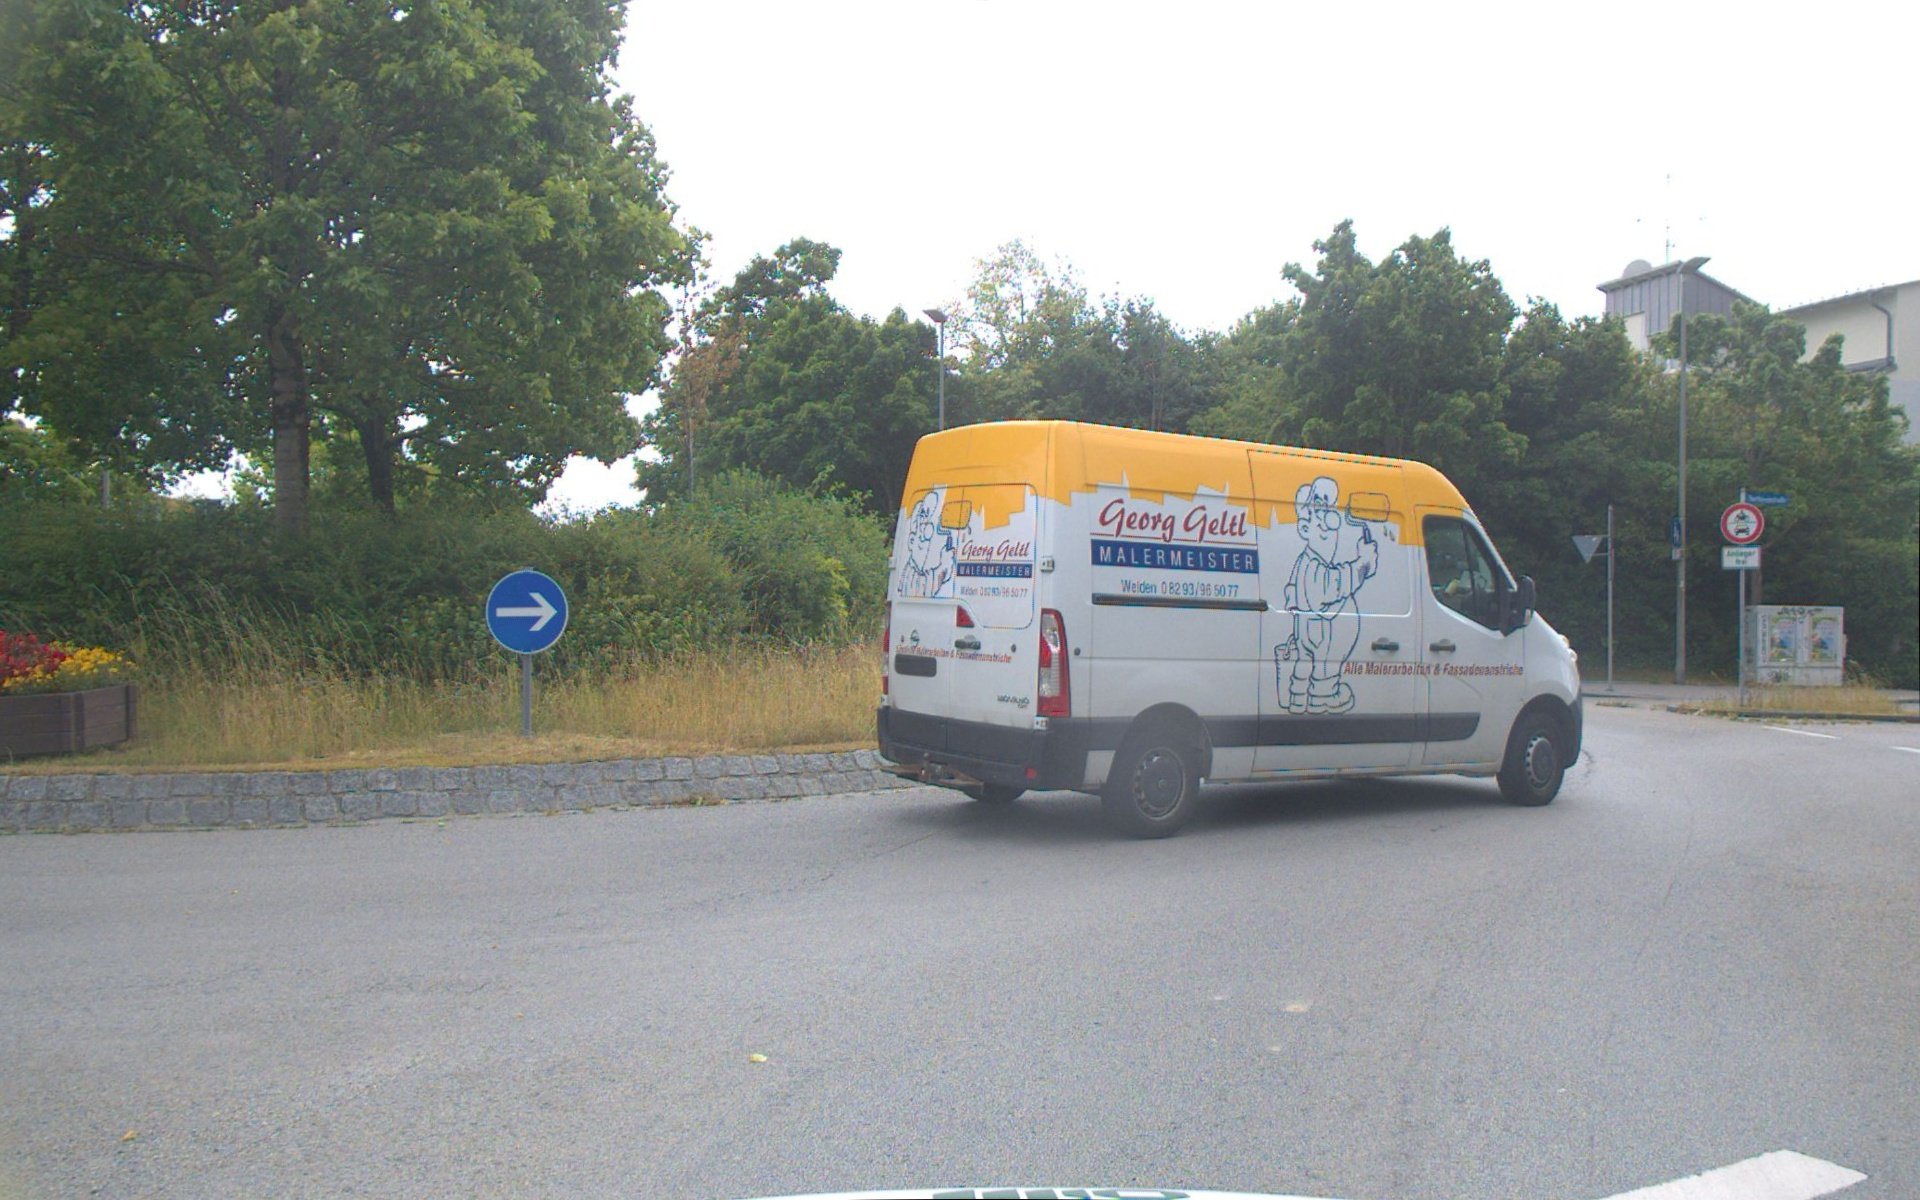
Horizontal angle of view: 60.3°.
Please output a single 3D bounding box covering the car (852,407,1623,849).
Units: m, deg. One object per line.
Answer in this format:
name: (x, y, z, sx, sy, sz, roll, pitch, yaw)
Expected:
car: (2.102, 0.165, 11.732, 5.375, 2.494, 2.144, 1, 1, -34)
